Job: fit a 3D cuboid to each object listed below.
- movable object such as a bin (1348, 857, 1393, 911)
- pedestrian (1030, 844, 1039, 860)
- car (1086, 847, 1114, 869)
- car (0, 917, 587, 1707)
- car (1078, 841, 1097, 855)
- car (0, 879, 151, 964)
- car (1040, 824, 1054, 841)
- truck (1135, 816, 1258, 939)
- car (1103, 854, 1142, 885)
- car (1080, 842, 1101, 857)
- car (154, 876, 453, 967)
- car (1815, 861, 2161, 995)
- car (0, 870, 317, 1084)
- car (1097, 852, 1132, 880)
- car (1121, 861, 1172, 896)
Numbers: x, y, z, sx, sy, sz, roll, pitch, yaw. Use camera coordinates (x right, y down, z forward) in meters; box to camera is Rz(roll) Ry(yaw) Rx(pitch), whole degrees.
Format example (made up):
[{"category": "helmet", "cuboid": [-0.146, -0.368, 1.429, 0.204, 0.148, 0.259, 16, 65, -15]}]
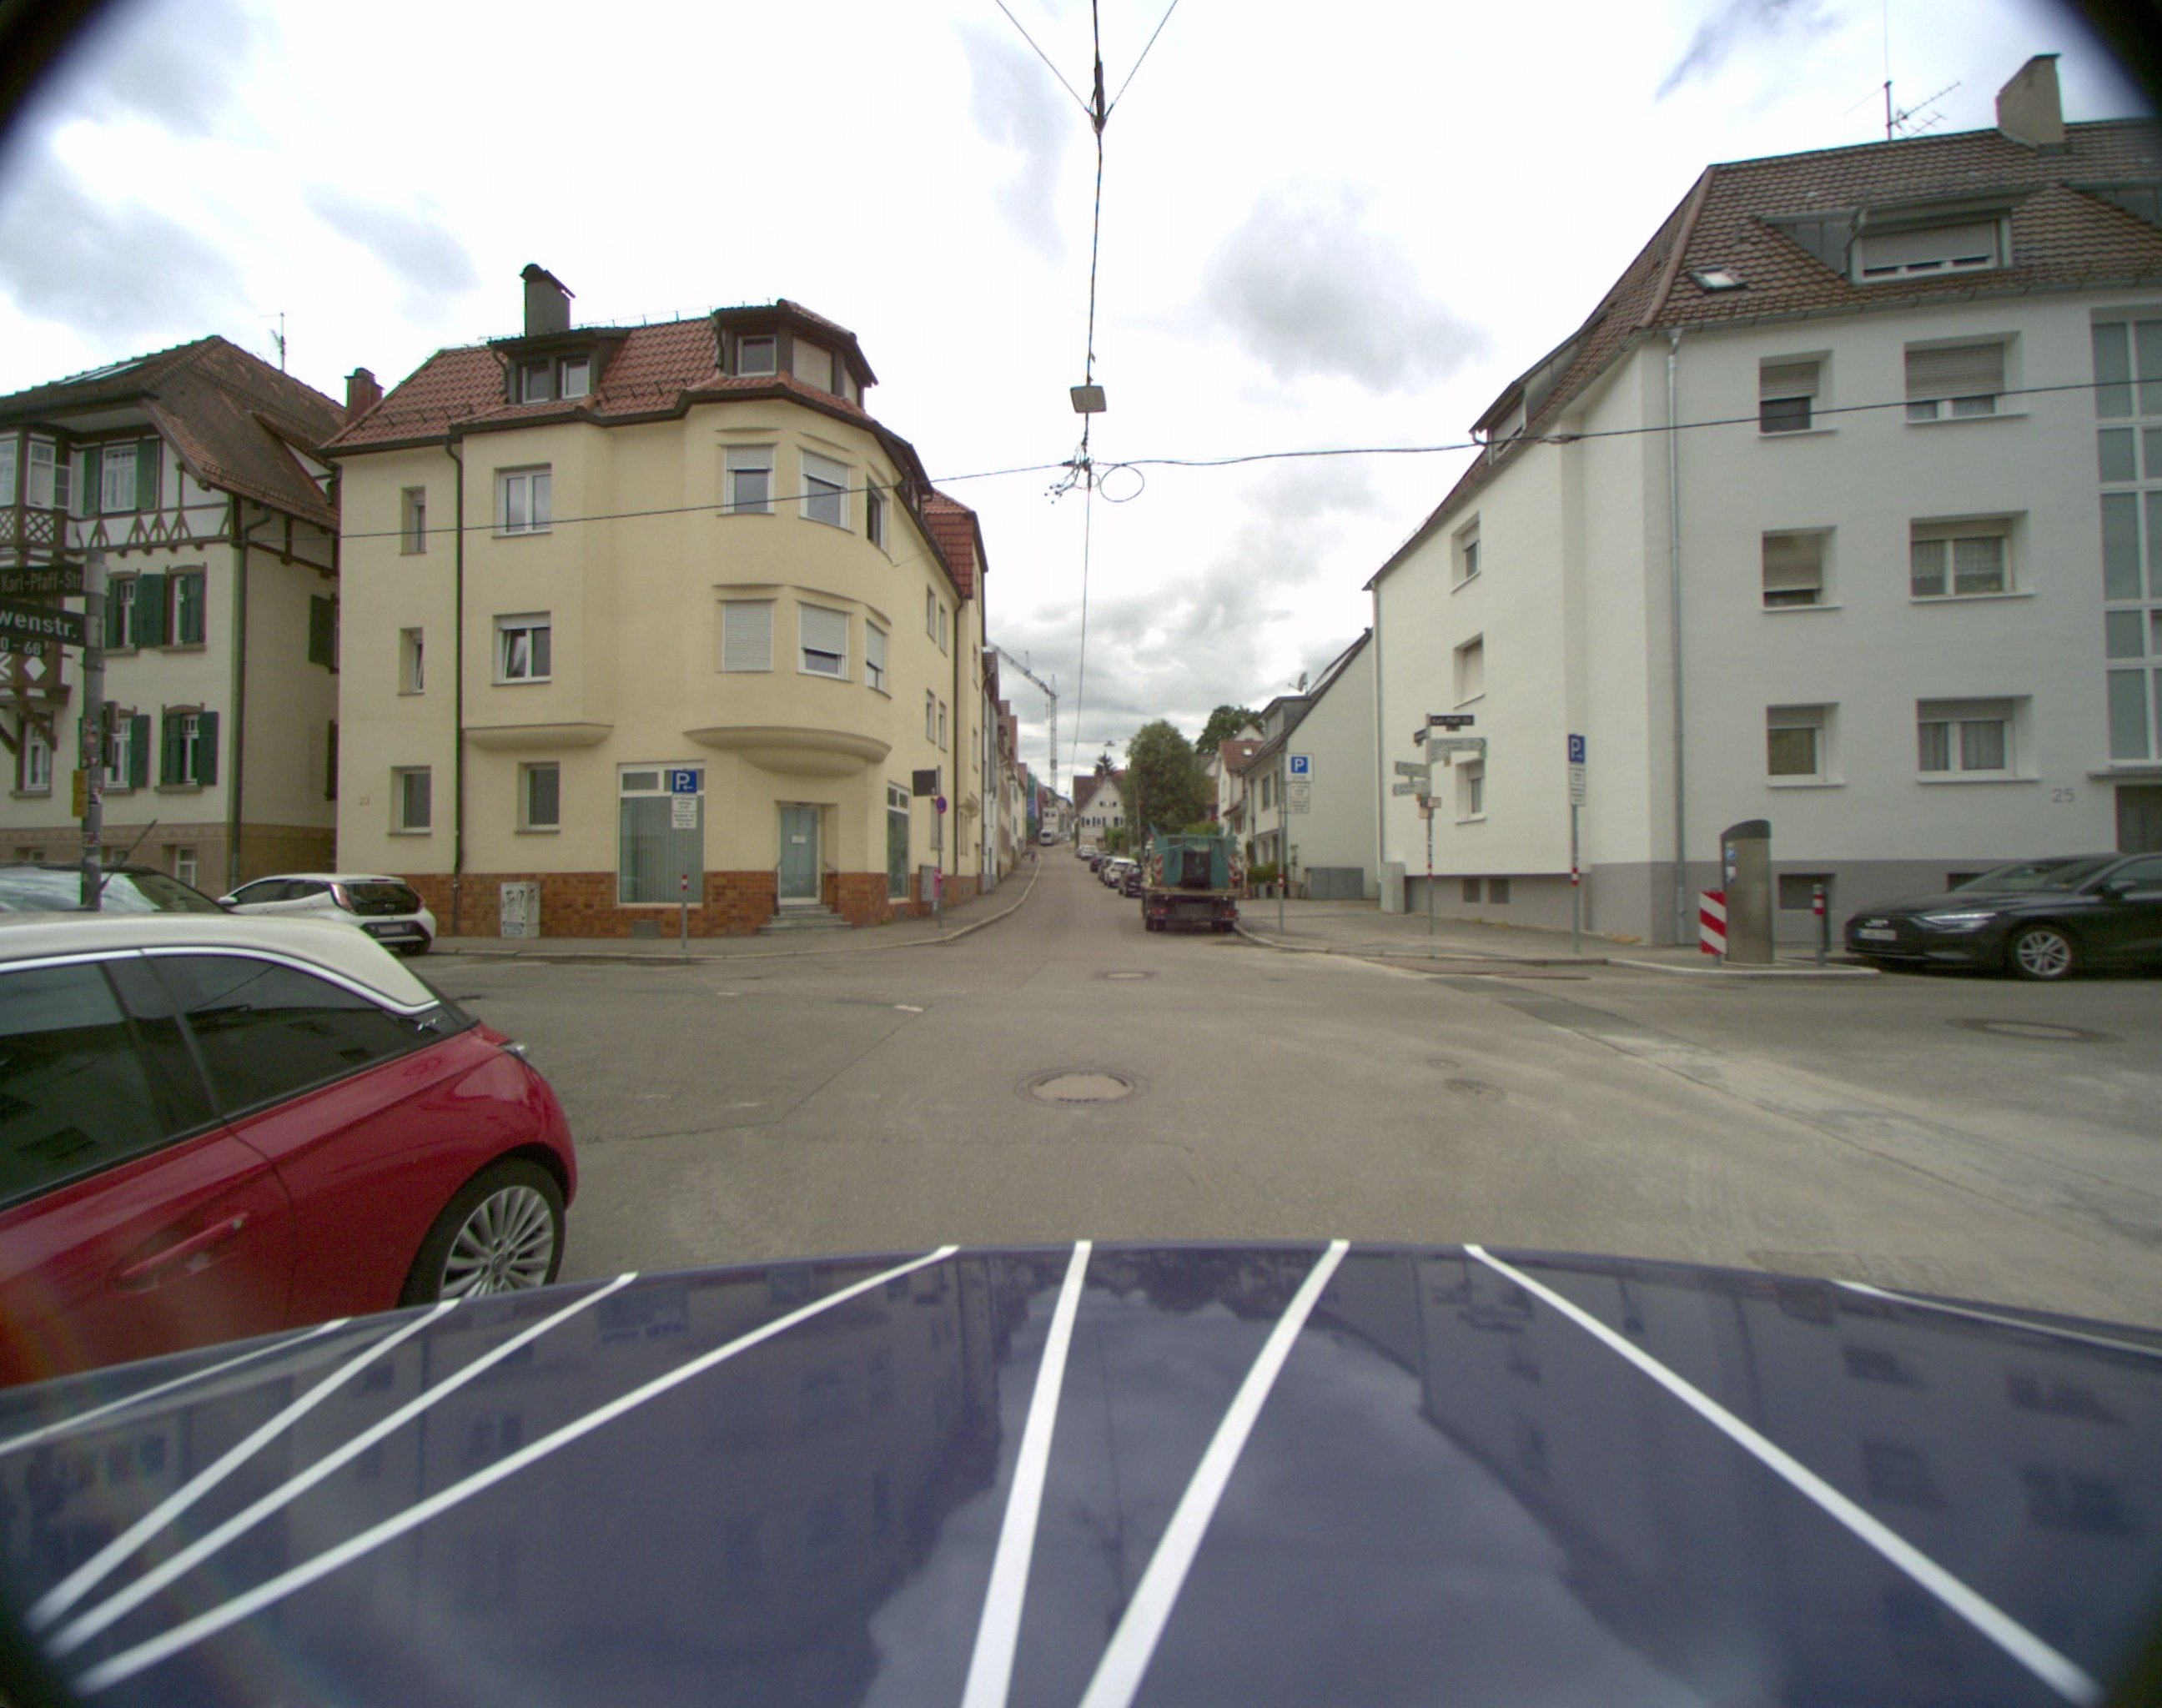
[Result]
[{"category": "movable object such as a bin", "cuboid": [8.752, 0.898, 23.030, 1.010, 1.608, 1.002, 0, 0, 3]}, {"category": "pedestrian", "cuboid": [-4.486, -0.172, 73.205, 0.757, 1.480, 0.566, -1, 0, -16]}, {"category": "car", "cuboid": [1.499, 0.306, 60.894, 1.855, 1.641, 3.944, 1, 1, -3]}, {"category": "car", "cuboid": [-2.667, 0.987, 0.915, 1.671, 1.471, 3.626, -1, 1, 2]}, {"category": "car", "cuboid": [0.677, -0.679, 85.122, 1.855, 1.442, 3.943, 1, 3, -3]}, {"category": "car", "cuboid": [-20.194, 1.172, 14.058, 4.363, 1.423, 1.760, 1, -3, 9]}, {"category": "car", "cuboid": [-5.476, -3.431, 123.622, 2.194, 2.630, 5.823, 1, 1, -3]}, {"category": "truck", "cuboid": [2.639, 0.565, 18.999, 2.316, 2.536, 6.290, 1, -1, 2]}, {"category": "car", "cuboid": [2.301, 0.855, 42.915, 1.855, 1.641, 3.946, 1, 0, -1]}, {"category": "car", "cuboid": [0.992, -0.471, 79.441, 1.855, 1.441, 3.944, 1, 1, -3]}, {"category": "car", "cuboid": [-13.270, 1.110, 13.074, 3.810, 1.425, 1.674, 0, -2, 9]}, {"category": "car", "cuboid": [11.732, 0.800, 8.858, 4.292, 1.383, 1.828, -2, -2, 7]}, {"category": "car", "cuboid": [-9.600, 0.944, 6.753, 4.022, 1.534, 1.824, 0, 1, 6]}, {"category": "car", "cuboid": [2.126, 0.743, 49.567, 1.855, 1.641, 3.944, 1, 1, -3]}, {"category": "car", "cuboid": [2.885, 1.055, 34.170, 1.855, 1.455, 3.946, 1, 0, -1]}]
